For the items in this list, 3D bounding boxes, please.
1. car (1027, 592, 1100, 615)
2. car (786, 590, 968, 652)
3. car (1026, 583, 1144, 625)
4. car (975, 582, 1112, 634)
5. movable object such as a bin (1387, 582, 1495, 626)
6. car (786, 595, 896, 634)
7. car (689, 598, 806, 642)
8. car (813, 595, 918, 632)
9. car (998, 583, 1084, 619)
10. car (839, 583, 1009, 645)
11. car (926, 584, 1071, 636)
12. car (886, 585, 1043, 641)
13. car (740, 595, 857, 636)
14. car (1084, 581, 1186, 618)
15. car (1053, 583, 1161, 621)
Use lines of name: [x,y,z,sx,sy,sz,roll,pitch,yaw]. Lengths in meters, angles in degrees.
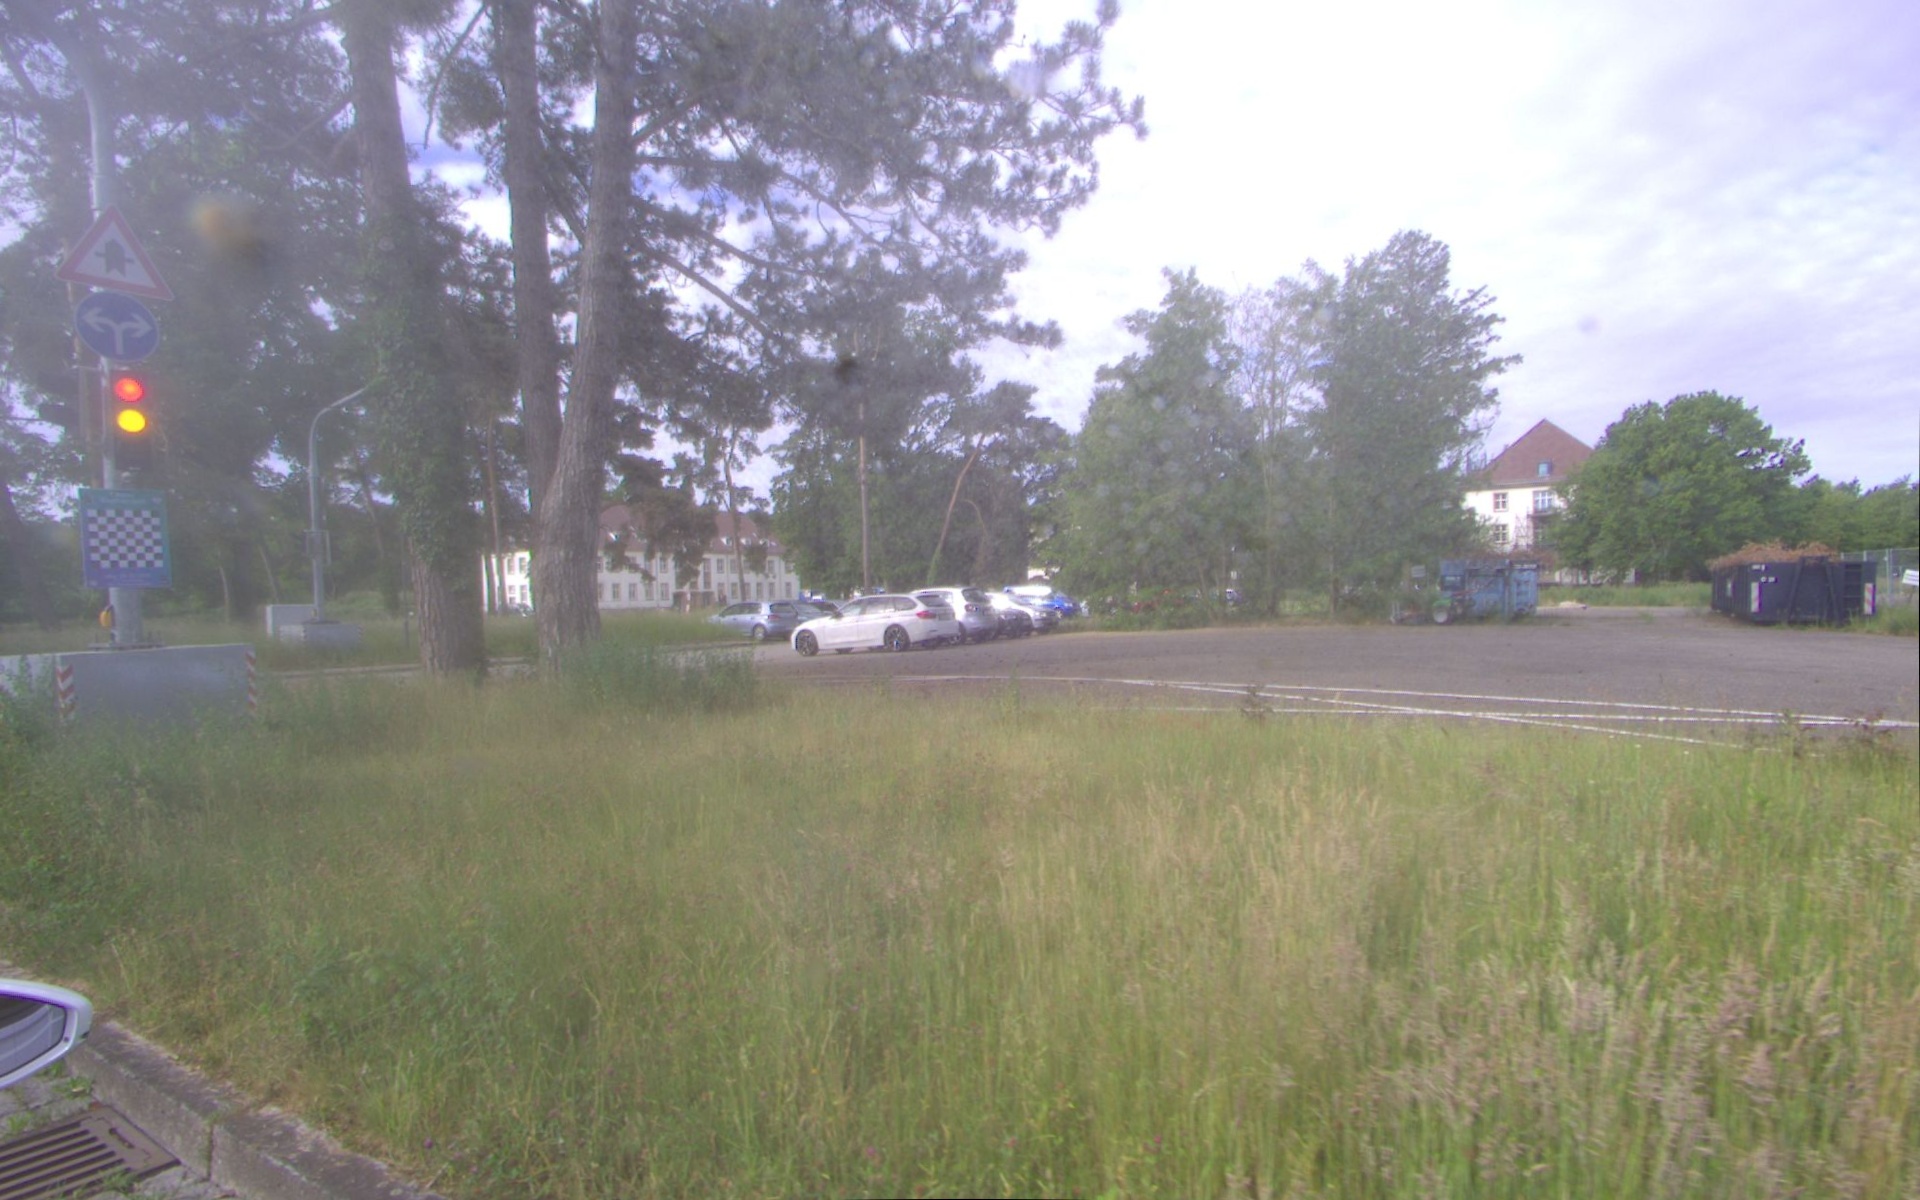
car: [6.157,0.218,59.630,3.942,1.225,1.654,-2,1,31]
car: [-2.142,0.552,25.523,4.380,1.434,1.750,-2,0,29]
car: [5.093,0.166,40.851,4.380,1.598,1.864,-1,1,29]
car: [2.891,0.272,34.884,4.380,1.709,1.864,-1,1,29]
movable object such as a bin: [12.786,0.088,26.636,2.505,1.098,1.060,0,2,31]
car: [-4.992,0.629,41.901,4.380,1.544,1.750,-1,1,29]
car: [-8.057,0.754,37.814,4.386,1.544,1.747,-1,1,34]
car: [-4.196,0.590,44.294,4.380,1.544,1.750,-1,1,29]
car: [4.637,0.069,57.399,4.586,1.994,1.750,-1,1,29]
car: [-1.022,0.396,27.861,4.380,1.598,1.864,-1,1,29]
car: [1.247,0.332,32.895,4.380,1.598,1.864,-1,1,29]
car: [0.126,0.389,30.281,4.380,1.598,1.864,-1,1,29]
car: [-6.418,0.612,39.658,4.379,1.544,1.750,-1,1,28]
car: [8.256,-0.017,47.212,4.380,1.598,1.864,-1,1,29]
car: [6.555,0.088,44.766,4.380,1.598,1.864,-1,1,29]
